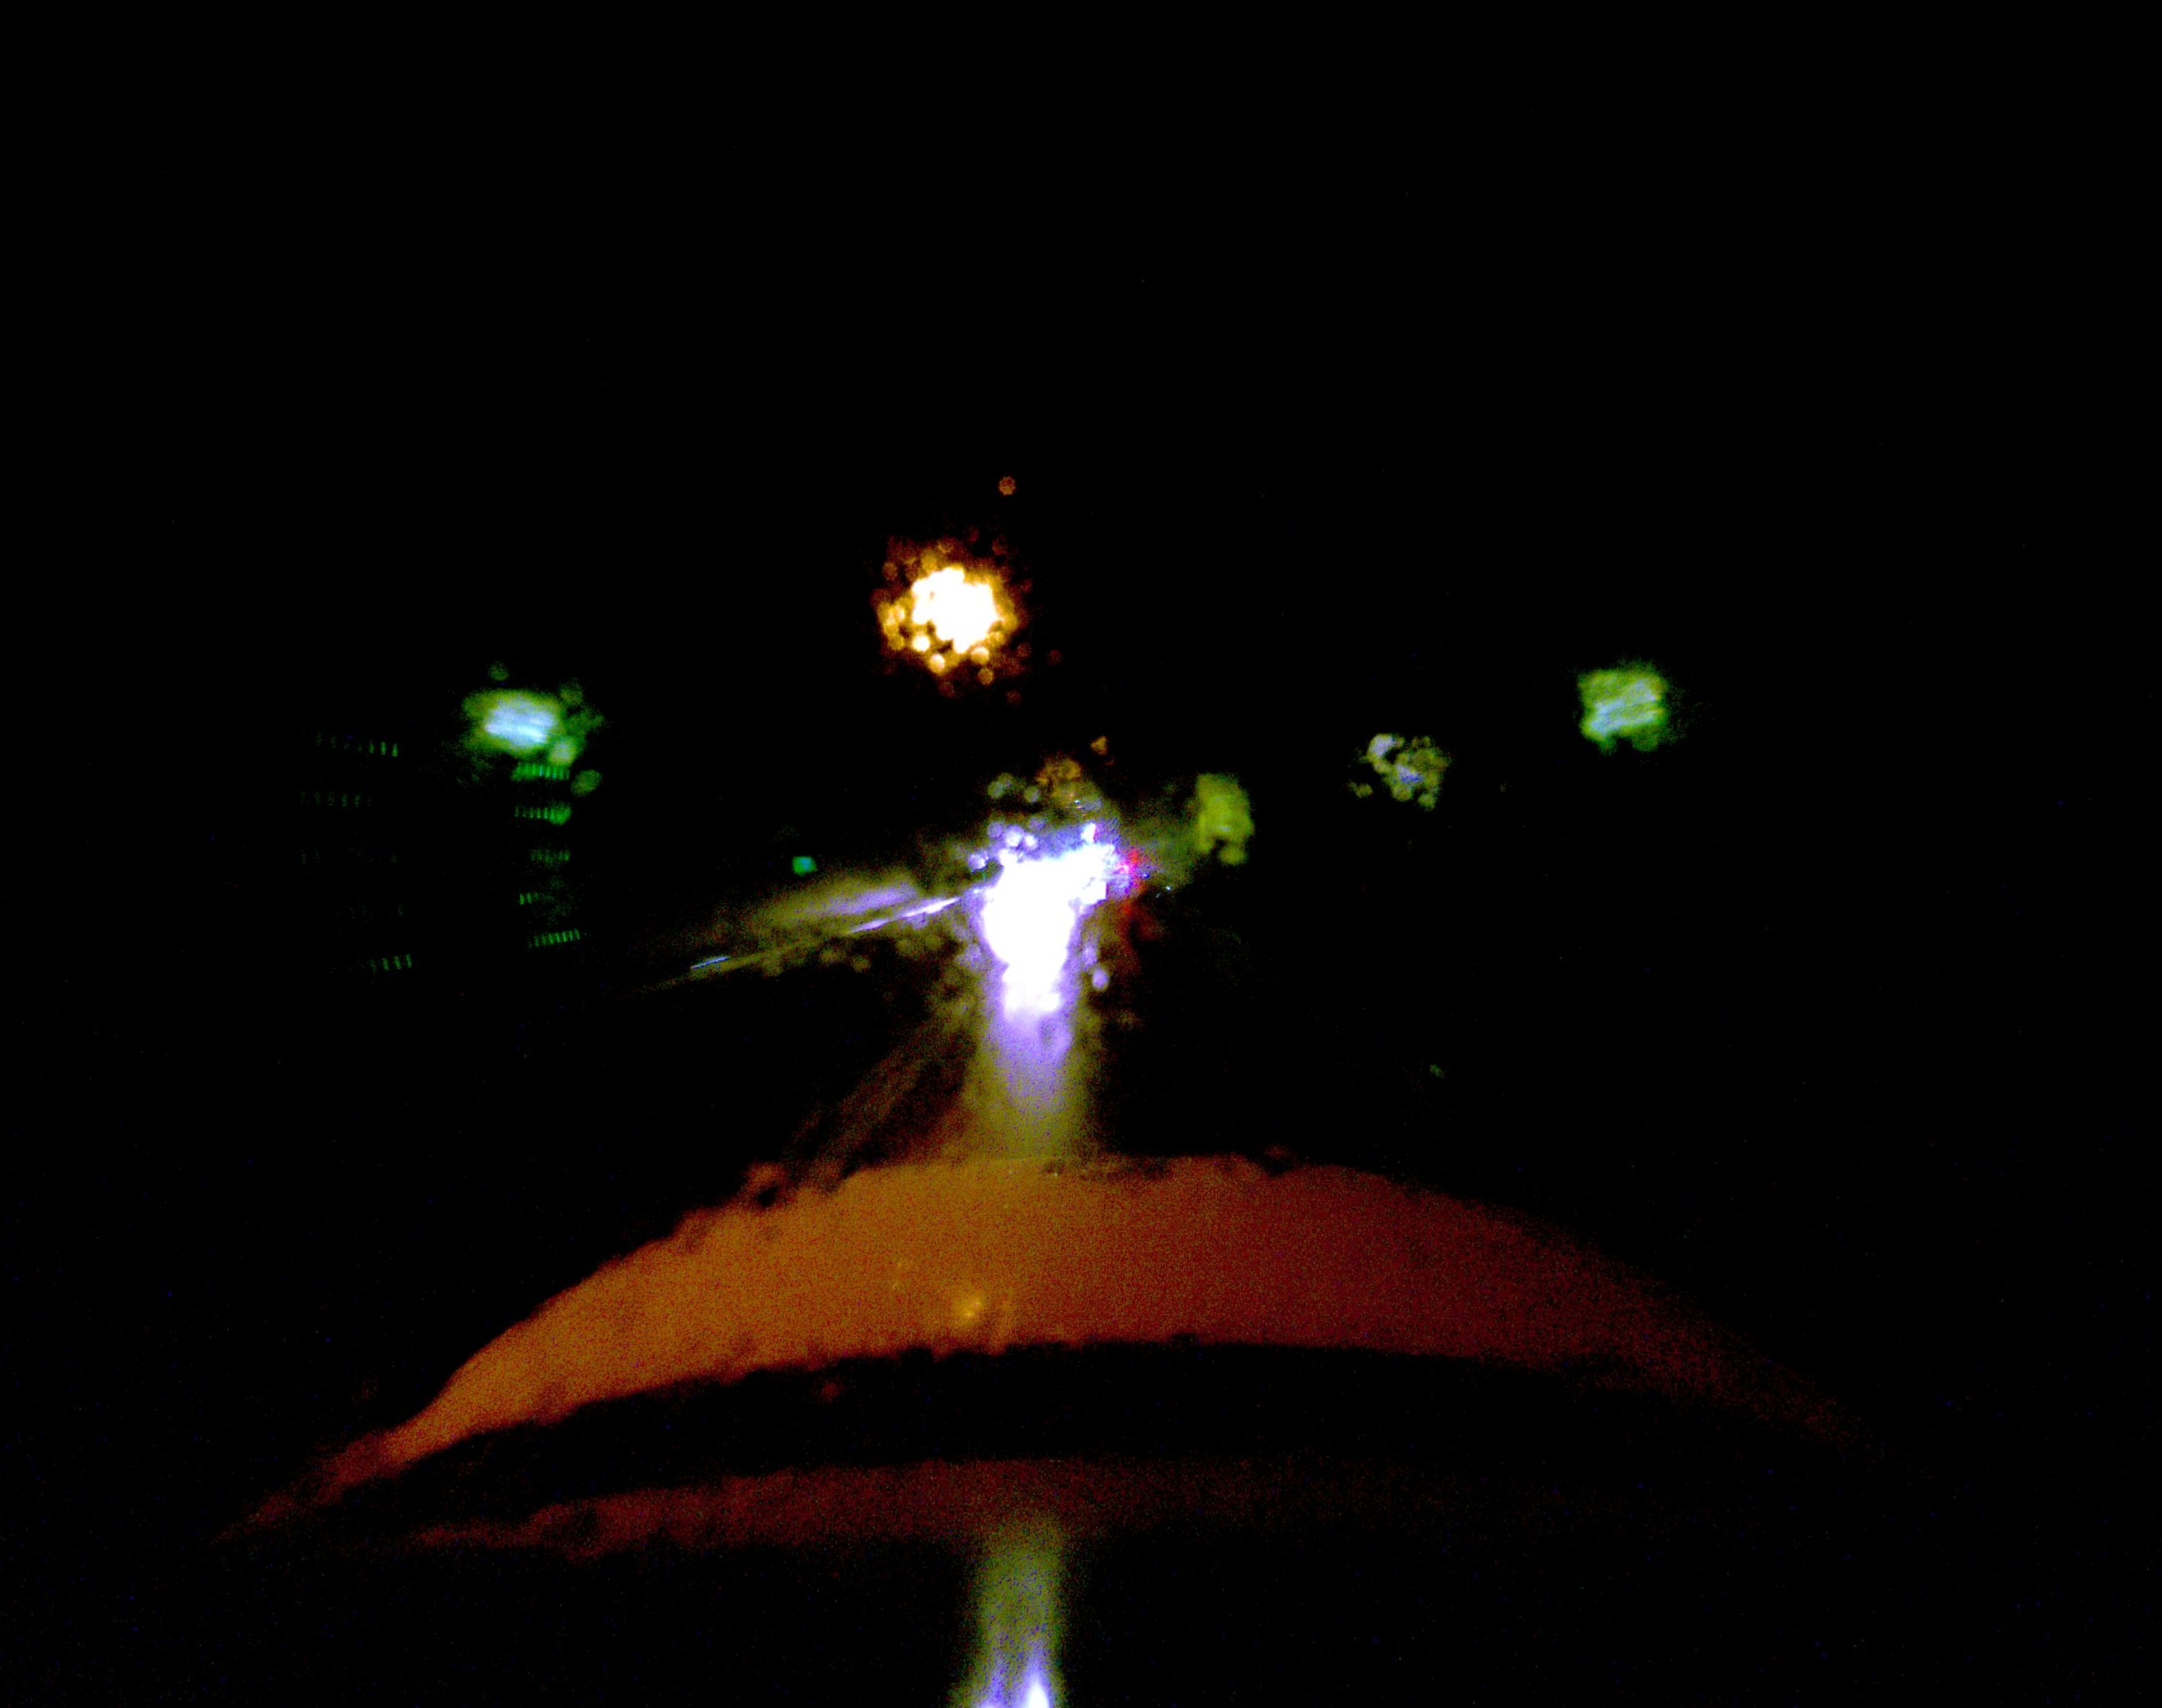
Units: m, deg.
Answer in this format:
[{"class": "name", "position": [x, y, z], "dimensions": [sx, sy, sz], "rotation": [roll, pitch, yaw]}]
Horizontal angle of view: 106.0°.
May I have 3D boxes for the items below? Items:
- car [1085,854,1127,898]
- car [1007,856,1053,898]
[{"class": "car", "position": [1.078, 0.875, 34.514], "dimensions": [1.629, 1.758, 4.148], "rotation": [-1, 0, 2]}, {"class": "car", "position": [-2.082, 0.915, 34.322], "dimensions": [1.514, 1.549, 4.056], "rotation": [-1, 1, 2]}]
